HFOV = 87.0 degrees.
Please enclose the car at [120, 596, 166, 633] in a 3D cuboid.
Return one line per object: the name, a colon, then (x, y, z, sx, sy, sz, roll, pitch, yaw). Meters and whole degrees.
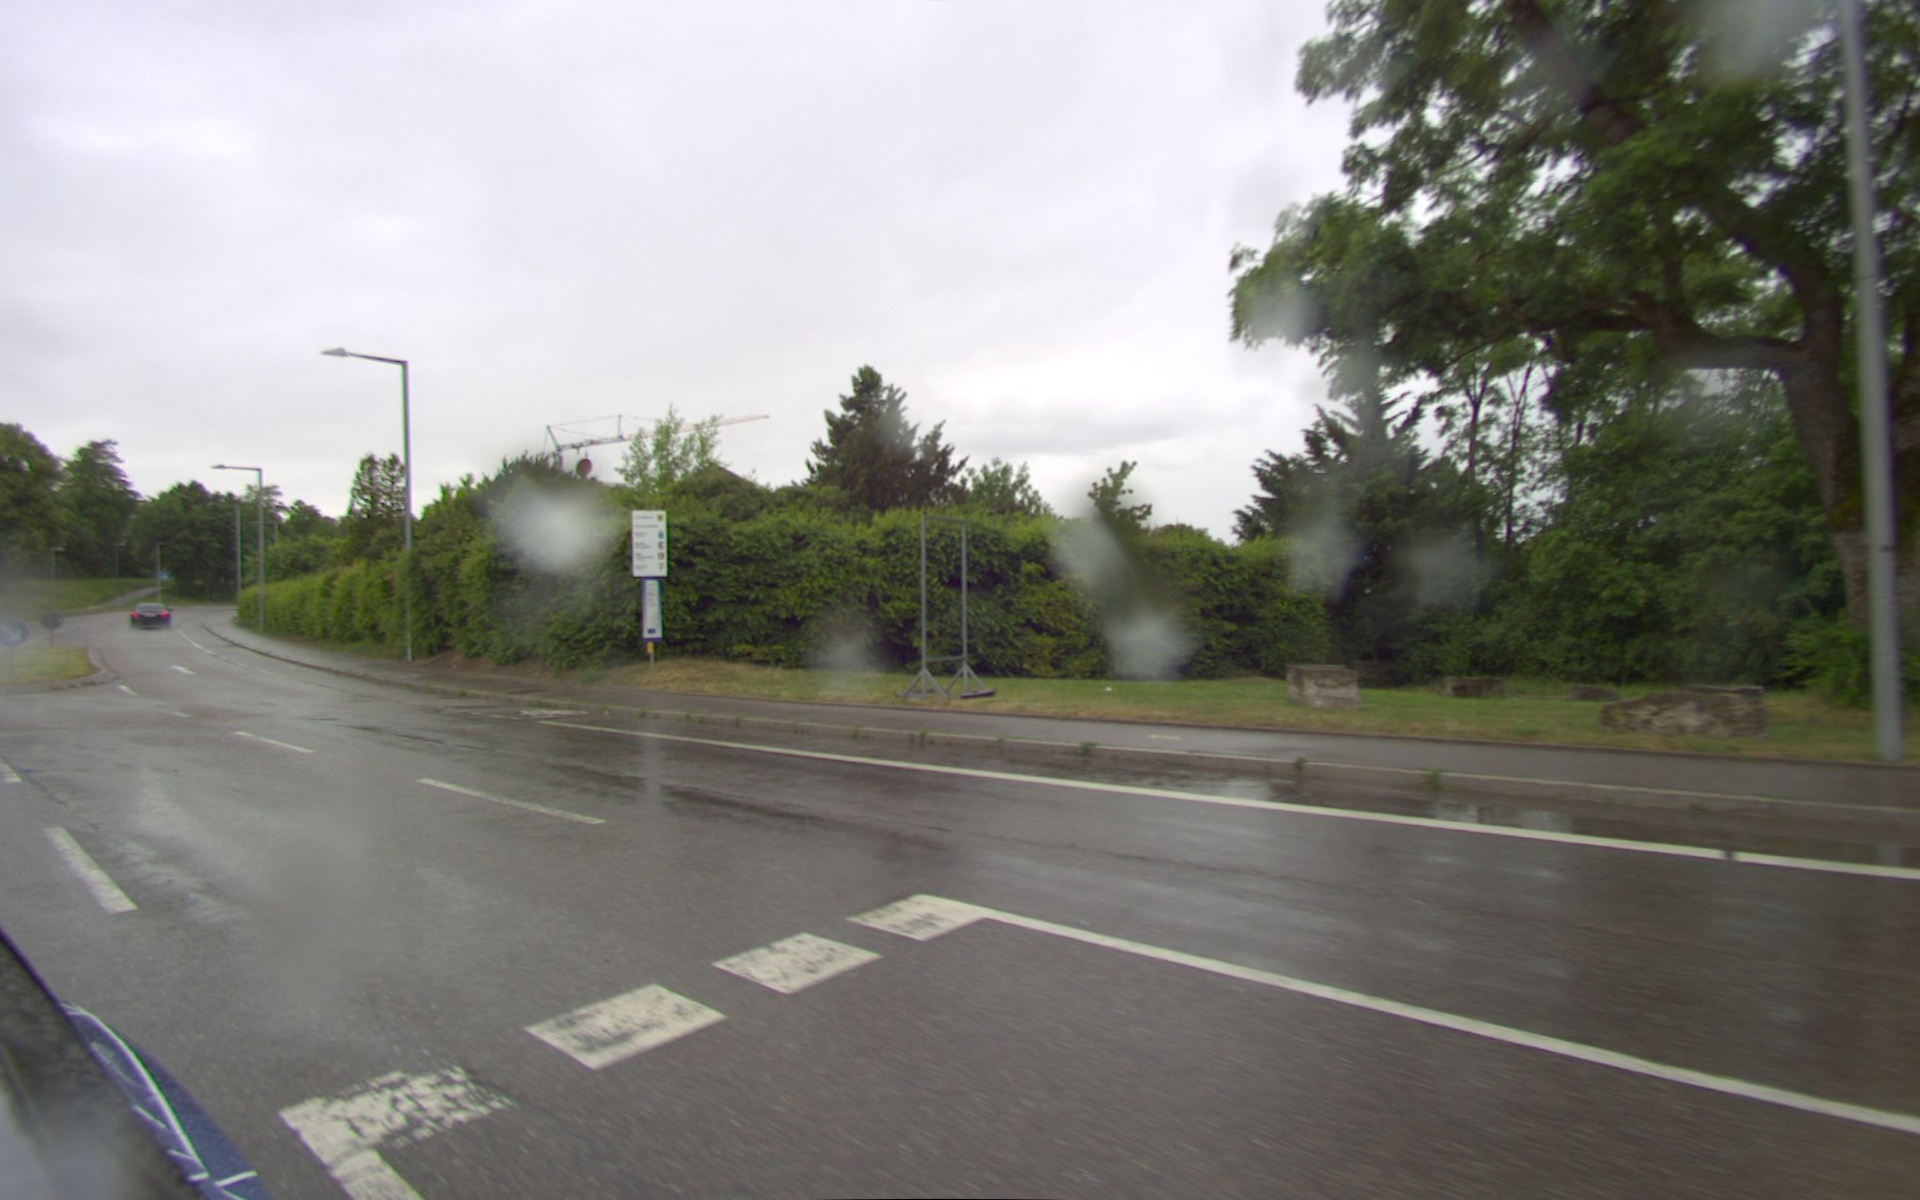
car: (-46.484, 0.787, 57.647, 1.937, 2.029, 4.008, -1, 0, -38)
